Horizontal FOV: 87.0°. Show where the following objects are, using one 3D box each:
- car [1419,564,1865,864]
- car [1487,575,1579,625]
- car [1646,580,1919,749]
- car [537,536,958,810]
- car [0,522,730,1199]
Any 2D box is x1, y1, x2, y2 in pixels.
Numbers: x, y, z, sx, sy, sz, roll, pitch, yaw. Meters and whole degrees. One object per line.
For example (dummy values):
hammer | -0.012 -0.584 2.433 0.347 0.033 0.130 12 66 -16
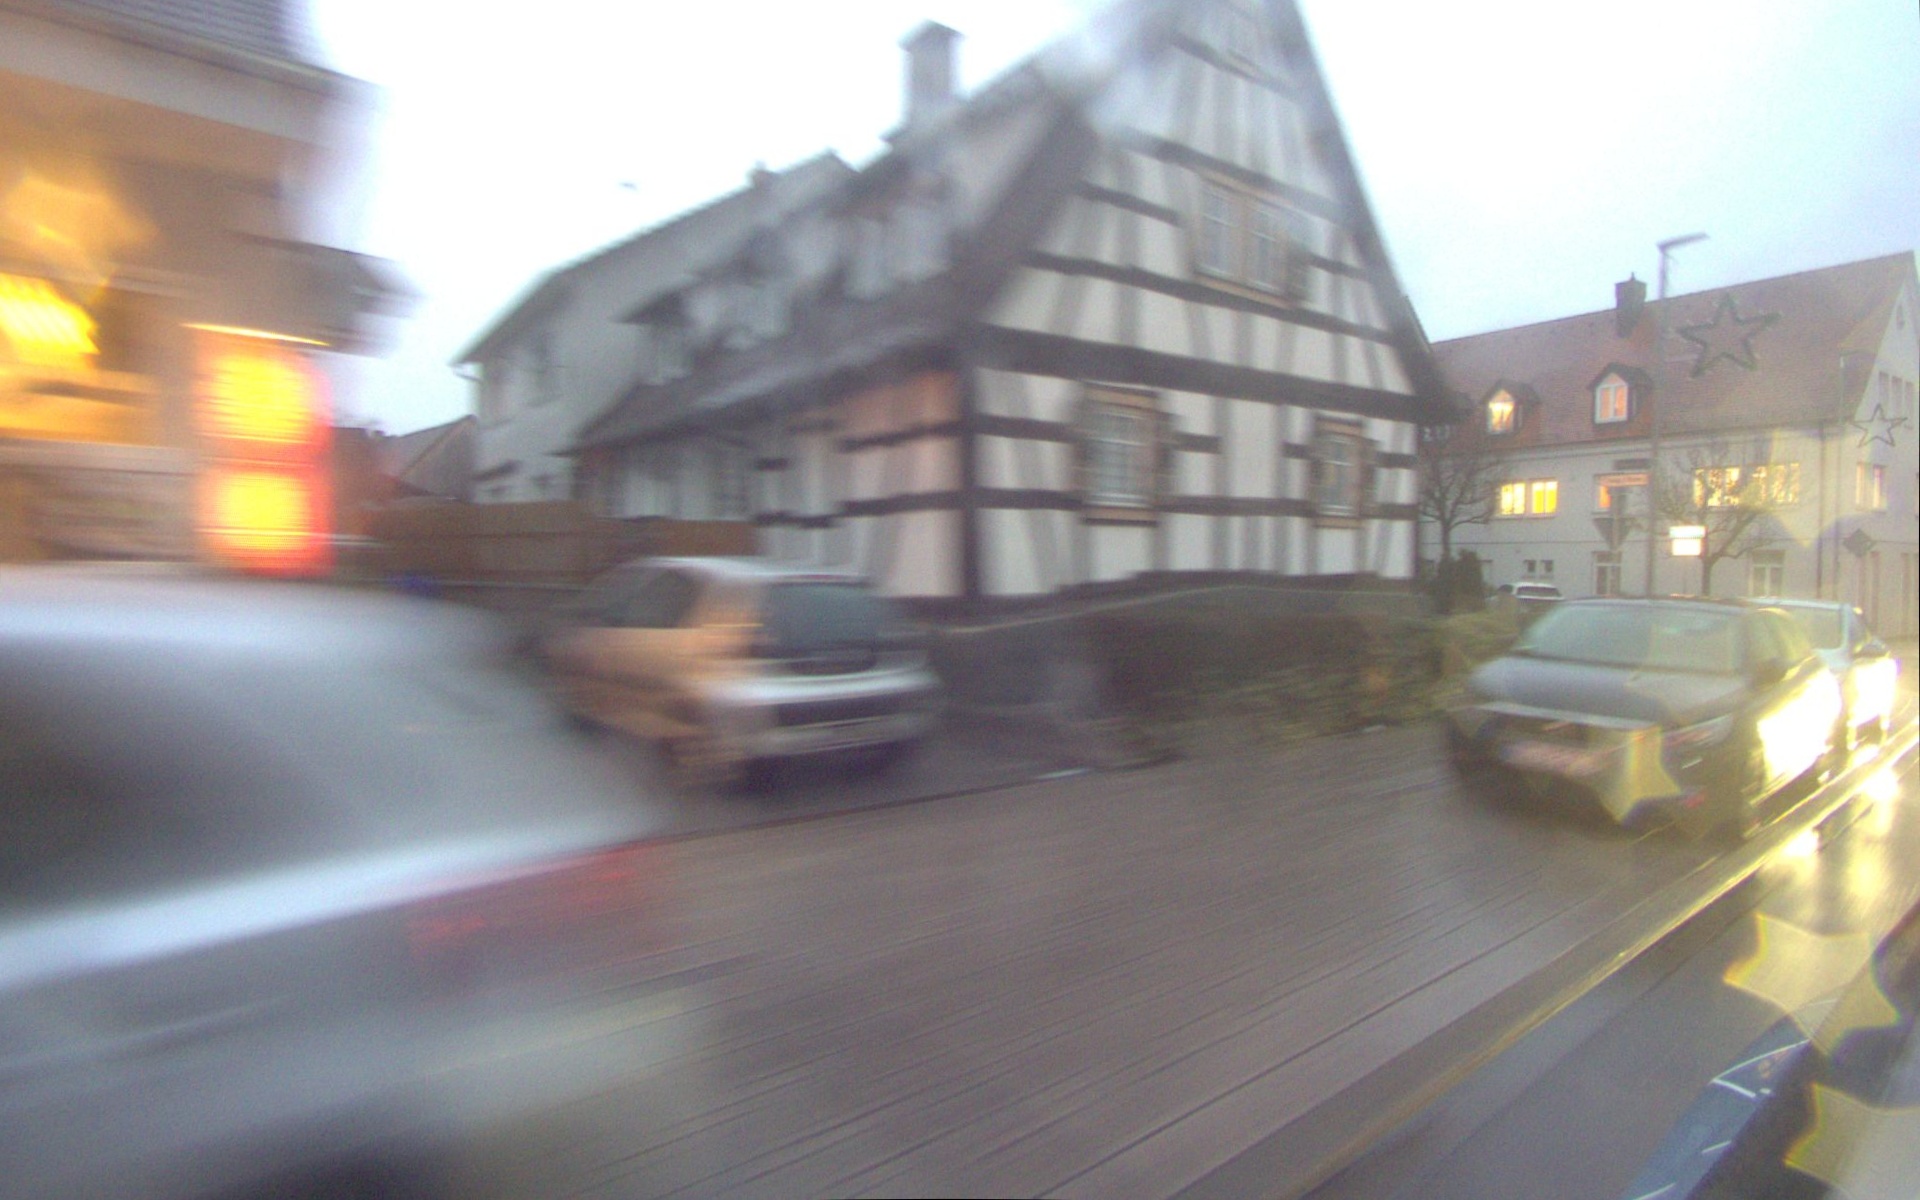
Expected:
car | 5.268 0.577 7.559 4.315 1.545 1.767 -1 4 -43
car | 18.941 -0.032 33.635 1.772 1.486 4.200 3 2 18
car | 9.342 0.576 11.345 3.931 1.476 1.736 0 4 -41
car | -1.744 0.336 7.603 1.658 1.458 3.297 -1 5 -42
car | -2.364 0.609 1.193 3.732 1.459 1.631 0 4 -40
